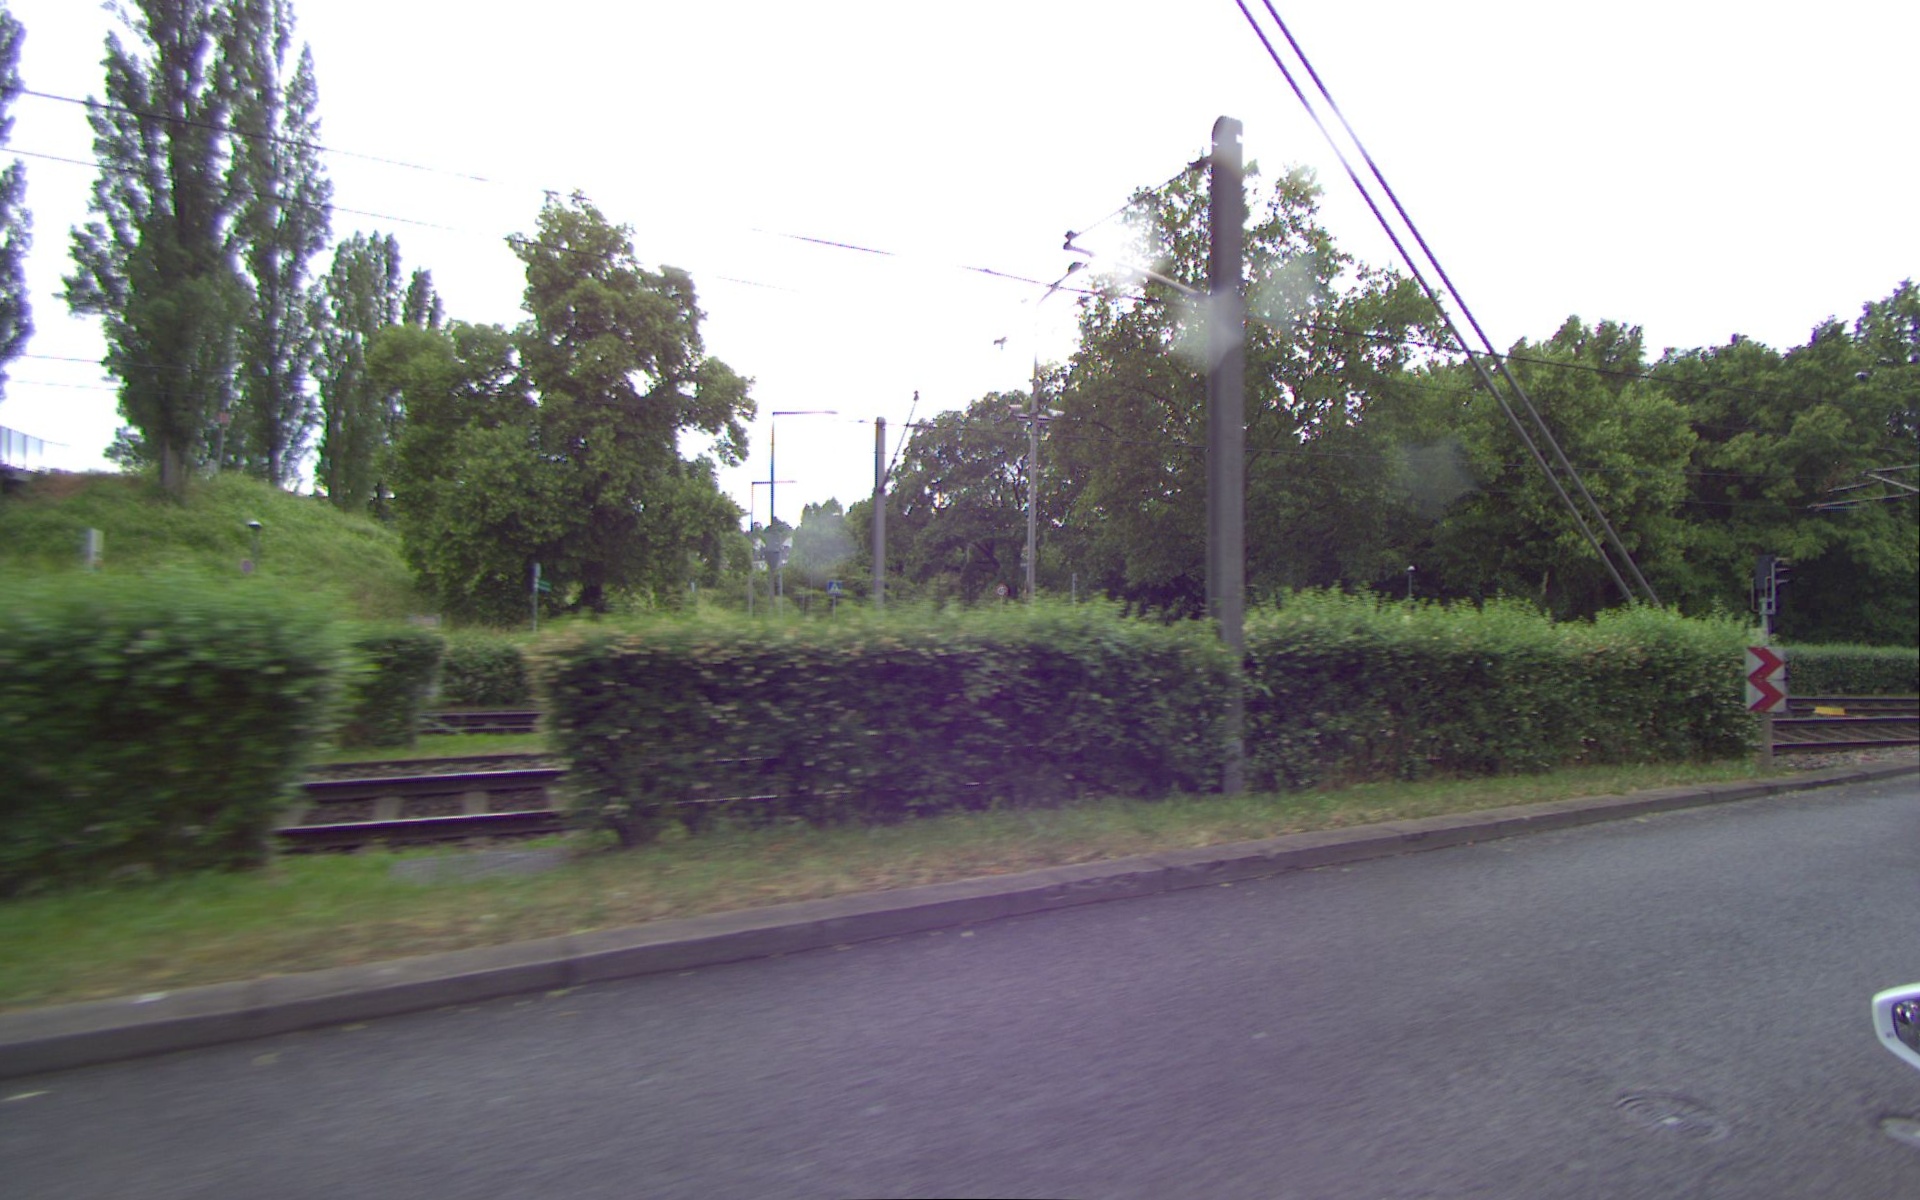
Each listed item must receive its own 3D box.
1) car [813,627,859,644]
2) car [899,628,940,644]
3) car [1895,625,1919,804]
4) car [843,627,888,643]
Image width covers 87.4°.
[{"bbox_3d":[-11.067,3.172,89.550,1.856,1.386,3.988,3,-1,35],"label":"car"},{"bbox_3d":[-4.056,3.584,100.701,1.860,1.386,3.979,3,-1,42],"label":"car"},{"bbox_3d":[9.742,0.970,8.136,4.291,1.397,1.802,2,0,-27],"label":"car"},{"bbox_3d":[-8.863,3.308,94.626,1.859,1.386,3.980,3,-1,41],"label":"car"}]
